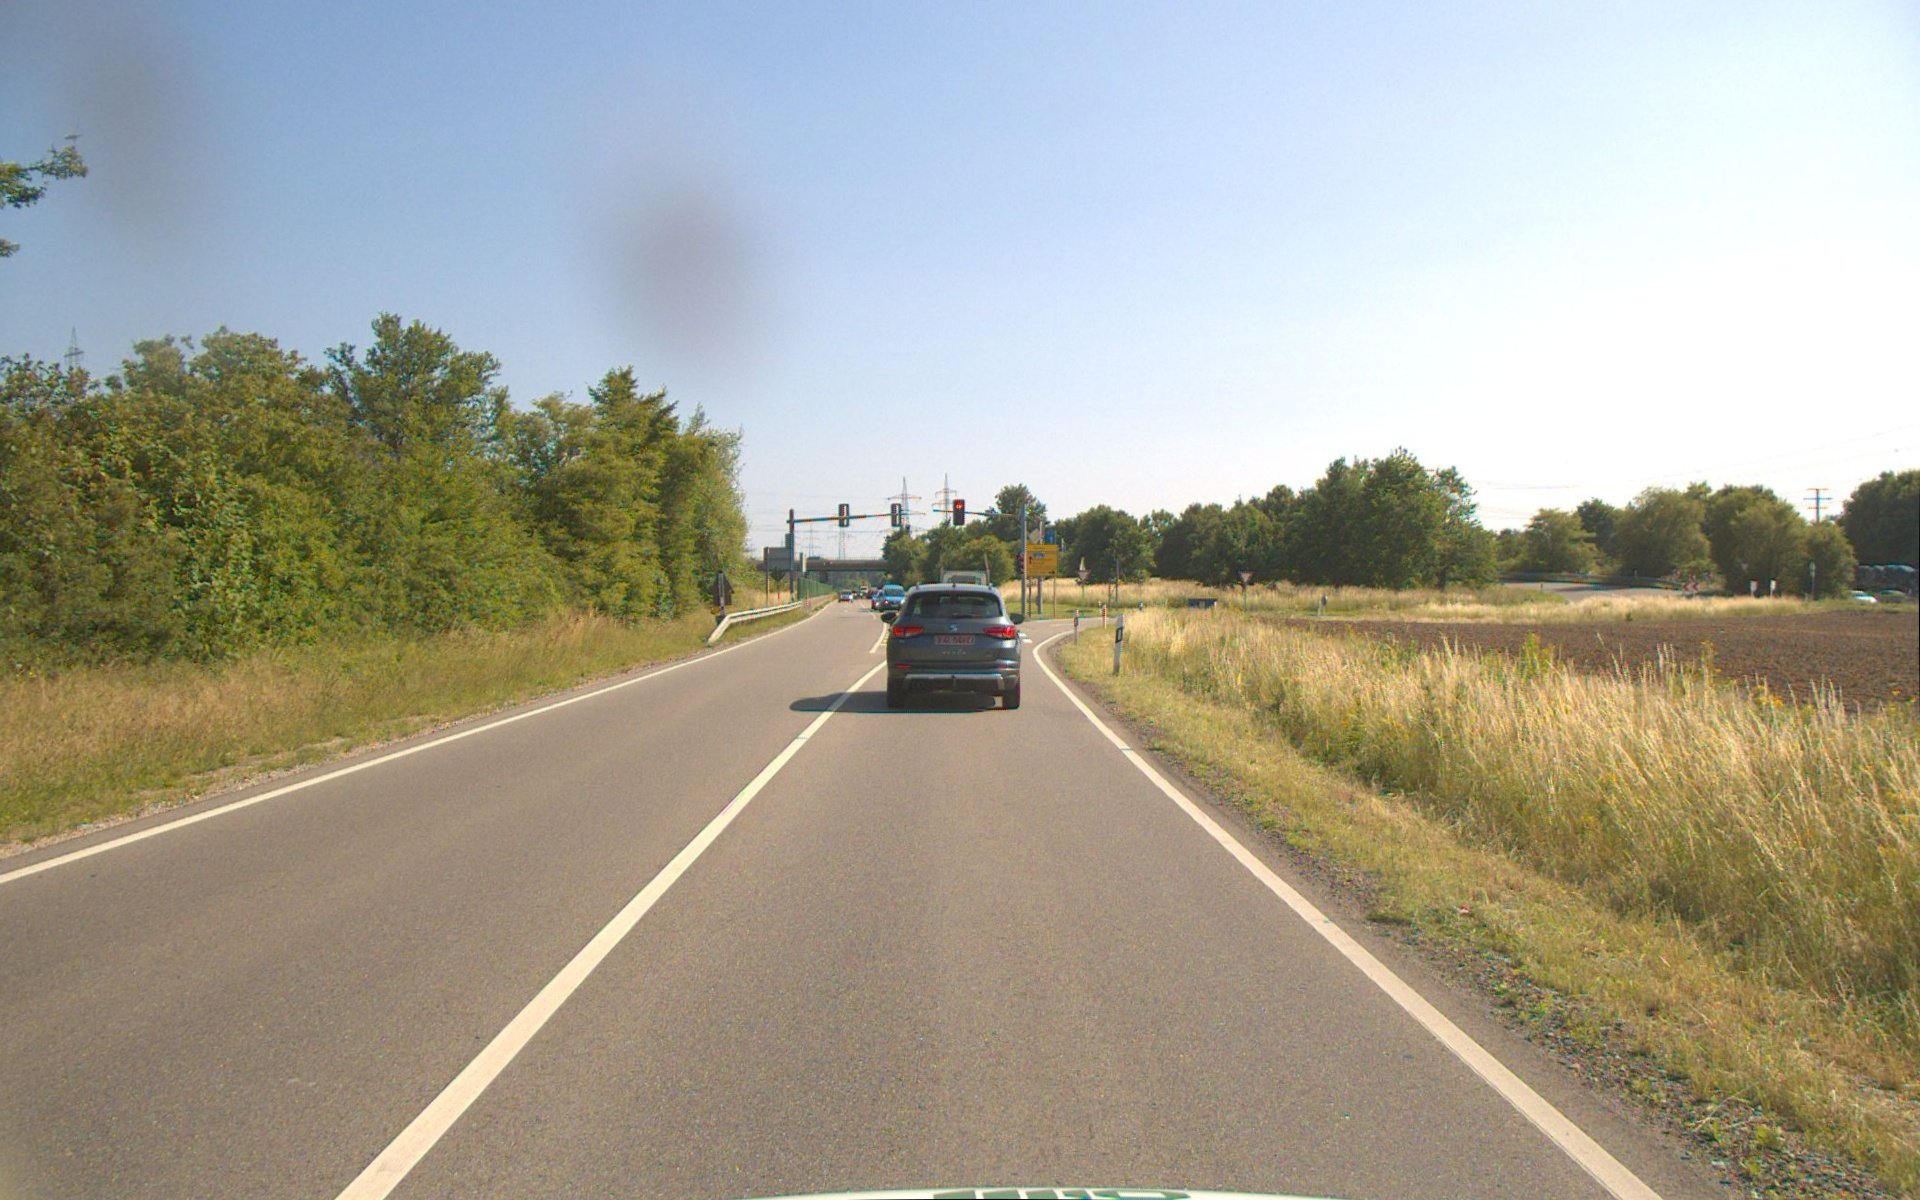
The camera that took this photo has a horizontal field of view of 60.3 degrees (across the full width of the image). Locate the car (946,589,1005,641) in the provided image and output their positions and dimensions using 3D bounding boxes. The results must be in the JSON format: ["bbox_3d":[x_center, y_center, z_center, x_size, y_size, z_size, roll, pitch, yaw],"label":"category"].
[{"bbox_3d":[0.450,0.440,52.577,1.749,1.570,3.999,0,1,-1],"label":"car"}]

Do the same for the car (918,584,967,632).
[{"bbox_3d":[-0.658,0.254,60.809,1.749,1.705,3.999,0,1,-1],"label":"car"}]

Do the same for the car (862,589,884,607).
[{"bbox_3d":[-6.974,-0.188,132.663,1.651,1.404,3.530,0,1,-4],"label":"car"}]

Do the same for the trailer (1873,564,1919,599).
[{"bbox_3d":[93.582,-1.781,159.501,3.218,3.324,13.448,0,1,-2],"label":"trailer"}]

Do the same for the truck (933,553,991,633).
[{"bbox_3d":[0.068,-0.273,68.426,2.289,3.120,5.809,1,0,0],"label":"truck"}]

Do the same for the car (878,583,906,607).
[{"bbox_3d":[-4.655,-0.367,112.610,1.780,1.567,3.996,0,1,-5],"label":"car"}]

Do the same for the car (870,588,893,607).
[{"bbox_3d":[-5.964,-0.198,124.997,1.651,1.404,3.530,0,1,-4],"label":"car"}]

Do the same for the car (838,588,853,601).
[{"bbox_3d":[-13.748,-0.678,198.570,1.788,1.456,3.996,0,1,-5],"label":"car"}]

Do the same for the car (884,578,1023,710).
[{"bbox_3d":[-0.120,0.530,22.813,1.749,1.657,3.999,0,1,-1],"label":"car"}]

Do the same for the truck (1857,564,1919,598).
[{"bbox_3d":[93.346,-1.879,165.837,3.218,3.324,6.426,0,1,-2],"label":"truck"}]
